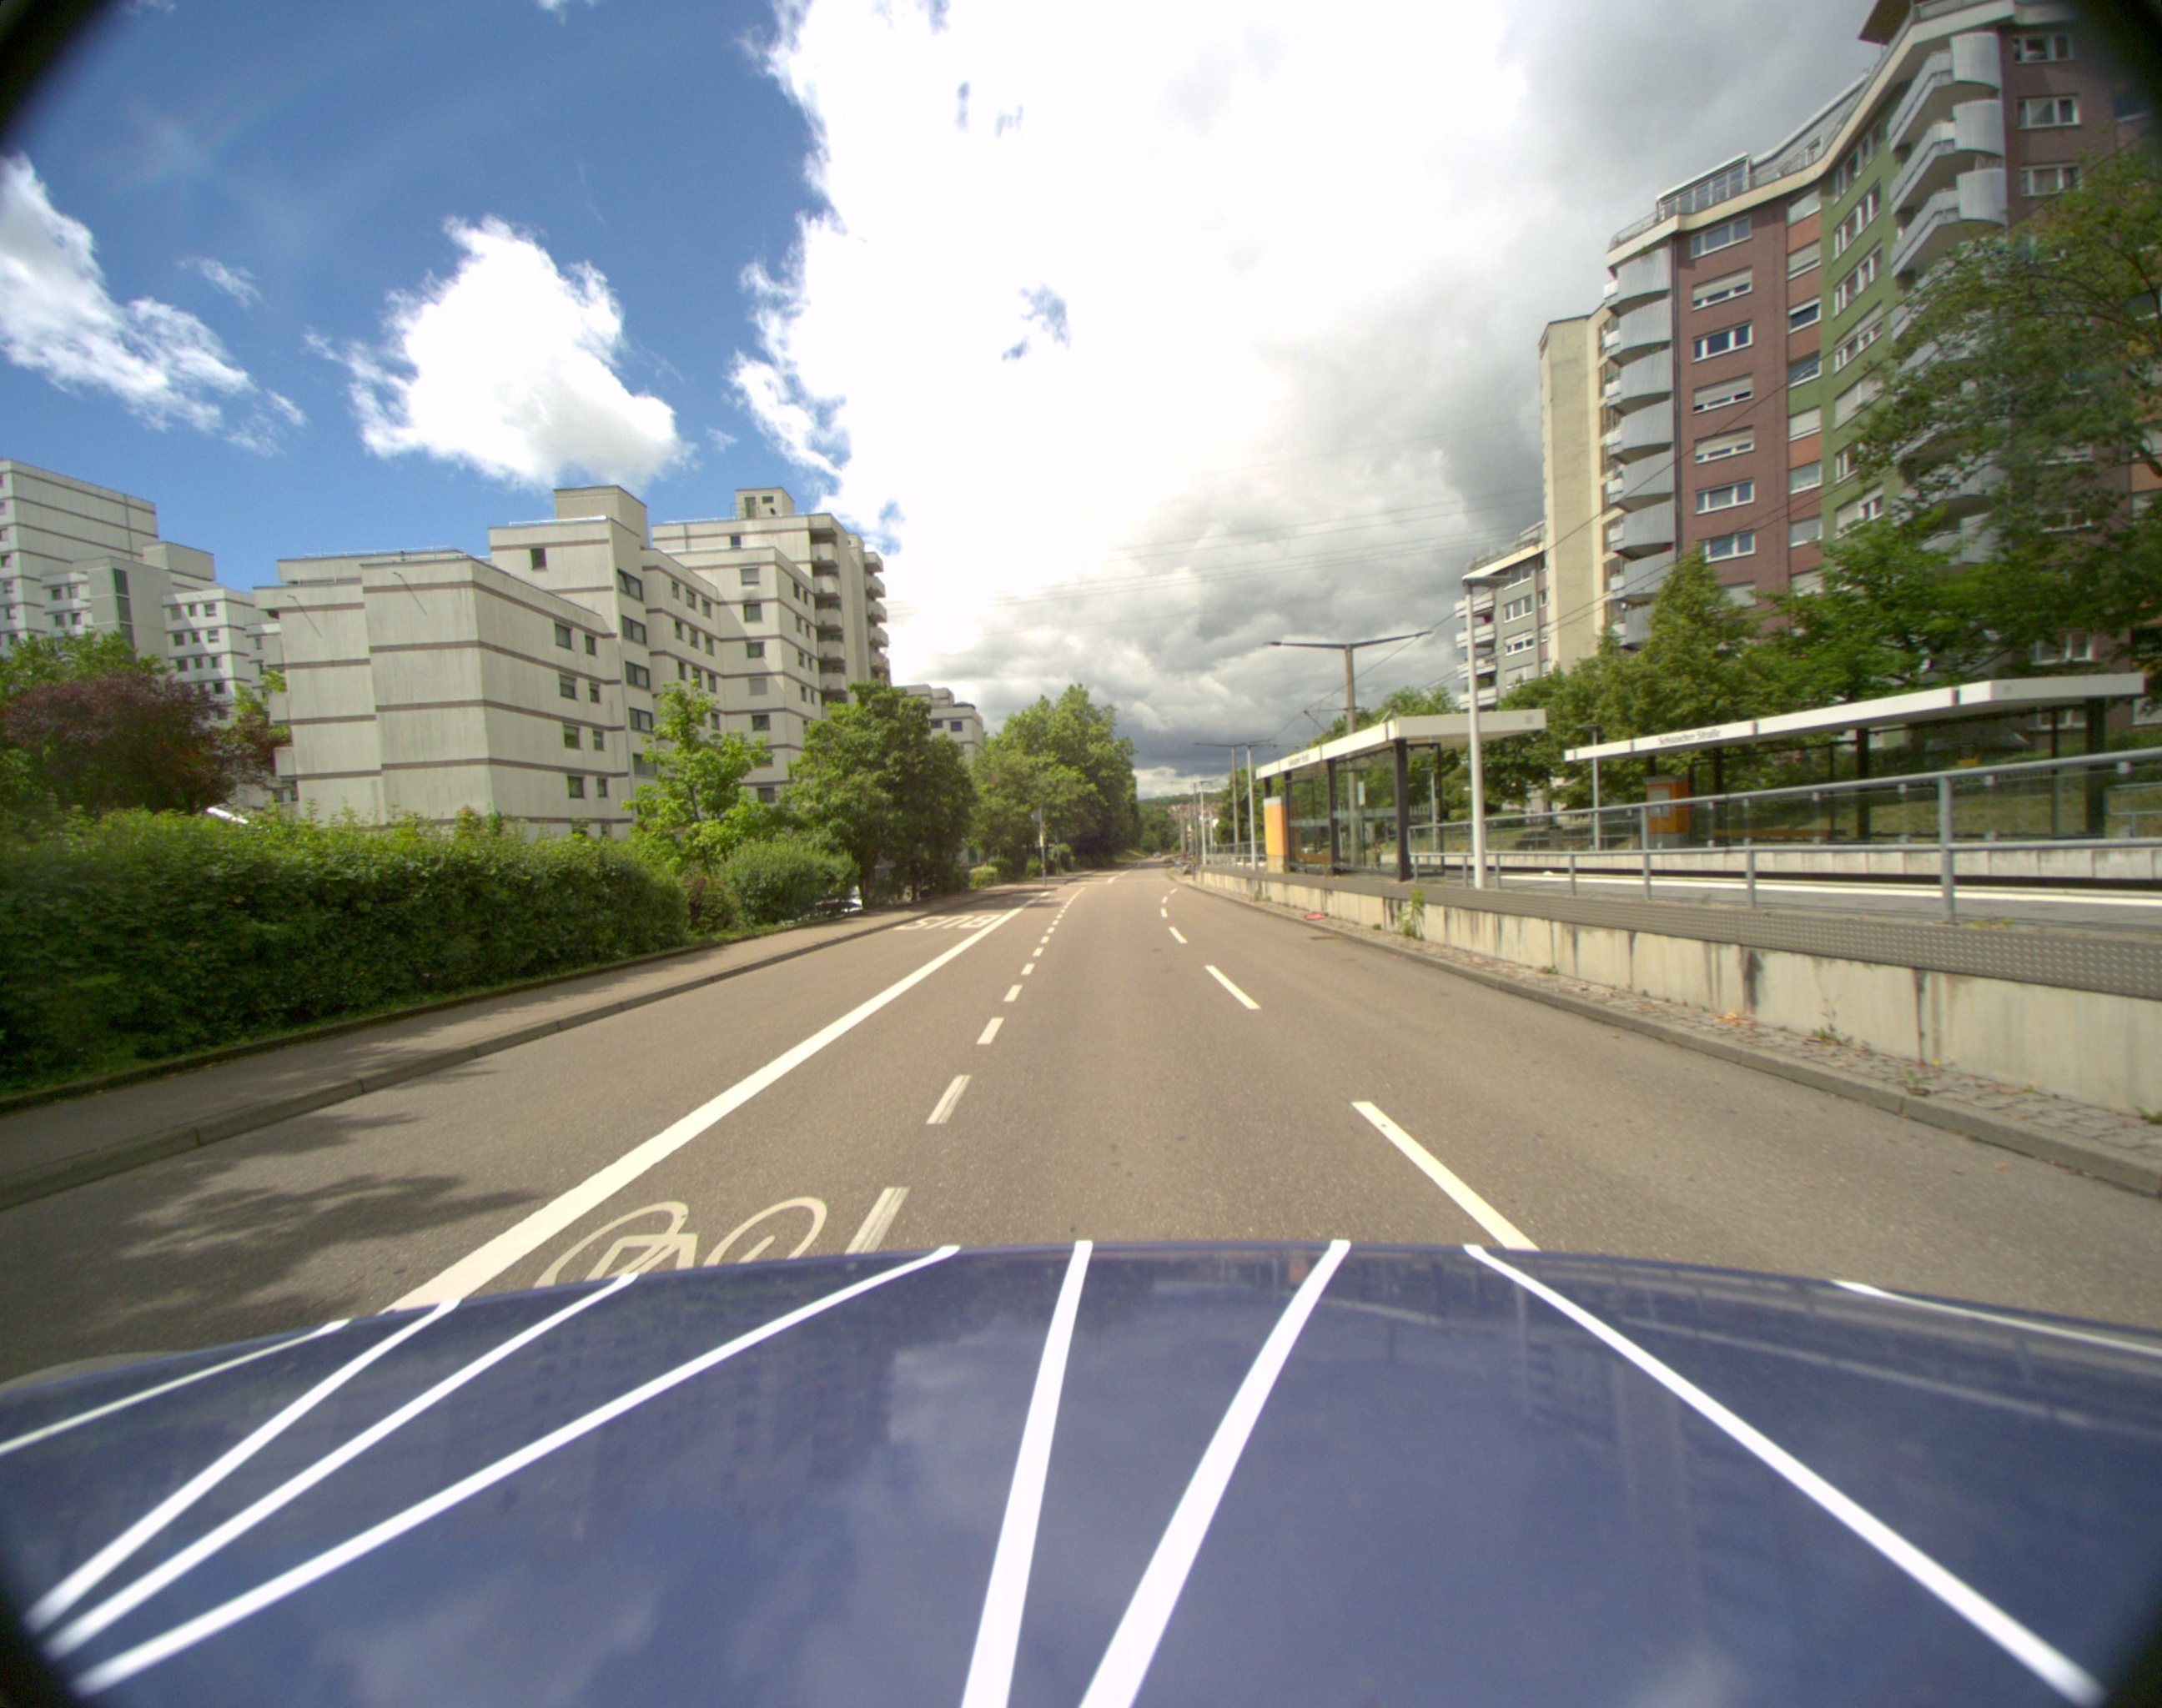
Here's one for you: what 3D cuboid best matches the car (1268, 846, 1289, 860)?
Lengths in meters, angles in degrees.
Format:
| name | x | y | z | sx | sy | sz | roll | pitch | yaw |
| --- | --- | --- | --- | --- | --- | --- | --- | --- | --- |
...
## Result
| name | x | y | z | sx | sy | sz | roll | pitch | yaw |
| --- | --- | --- | --- | --- | --- | --- | --- | --- | --- |
| car | 22.760 | -0.143 | 87.717 | 1.658 | 1.503 | 3.738 | -2 | 0 | 4 |

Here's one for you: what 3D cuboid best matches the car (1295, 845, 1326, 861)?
| name | x | y | z | sx | sy | sz | roll | pitch | yaw |
| --- | --- | --- | --- | --- | --- | --- | --- | --- | --- |
| car | 21.356 | -0.066 | 70.952 | 1.658 | 1.410 | 4.000 | -2 | 0 | 0 |

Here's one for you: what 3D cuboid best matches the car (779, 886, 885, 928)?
| name | x | y | z | sx | sy | sz | roll | pitch | yaw |
| --- | --- | --- | --- | --- | --- | --- | --- | --- | --- |
| car | -10.258 | 2.162 | 31.478 | 3.761 | 1.424 | 1.564 | -3 | 2 | 4 |
